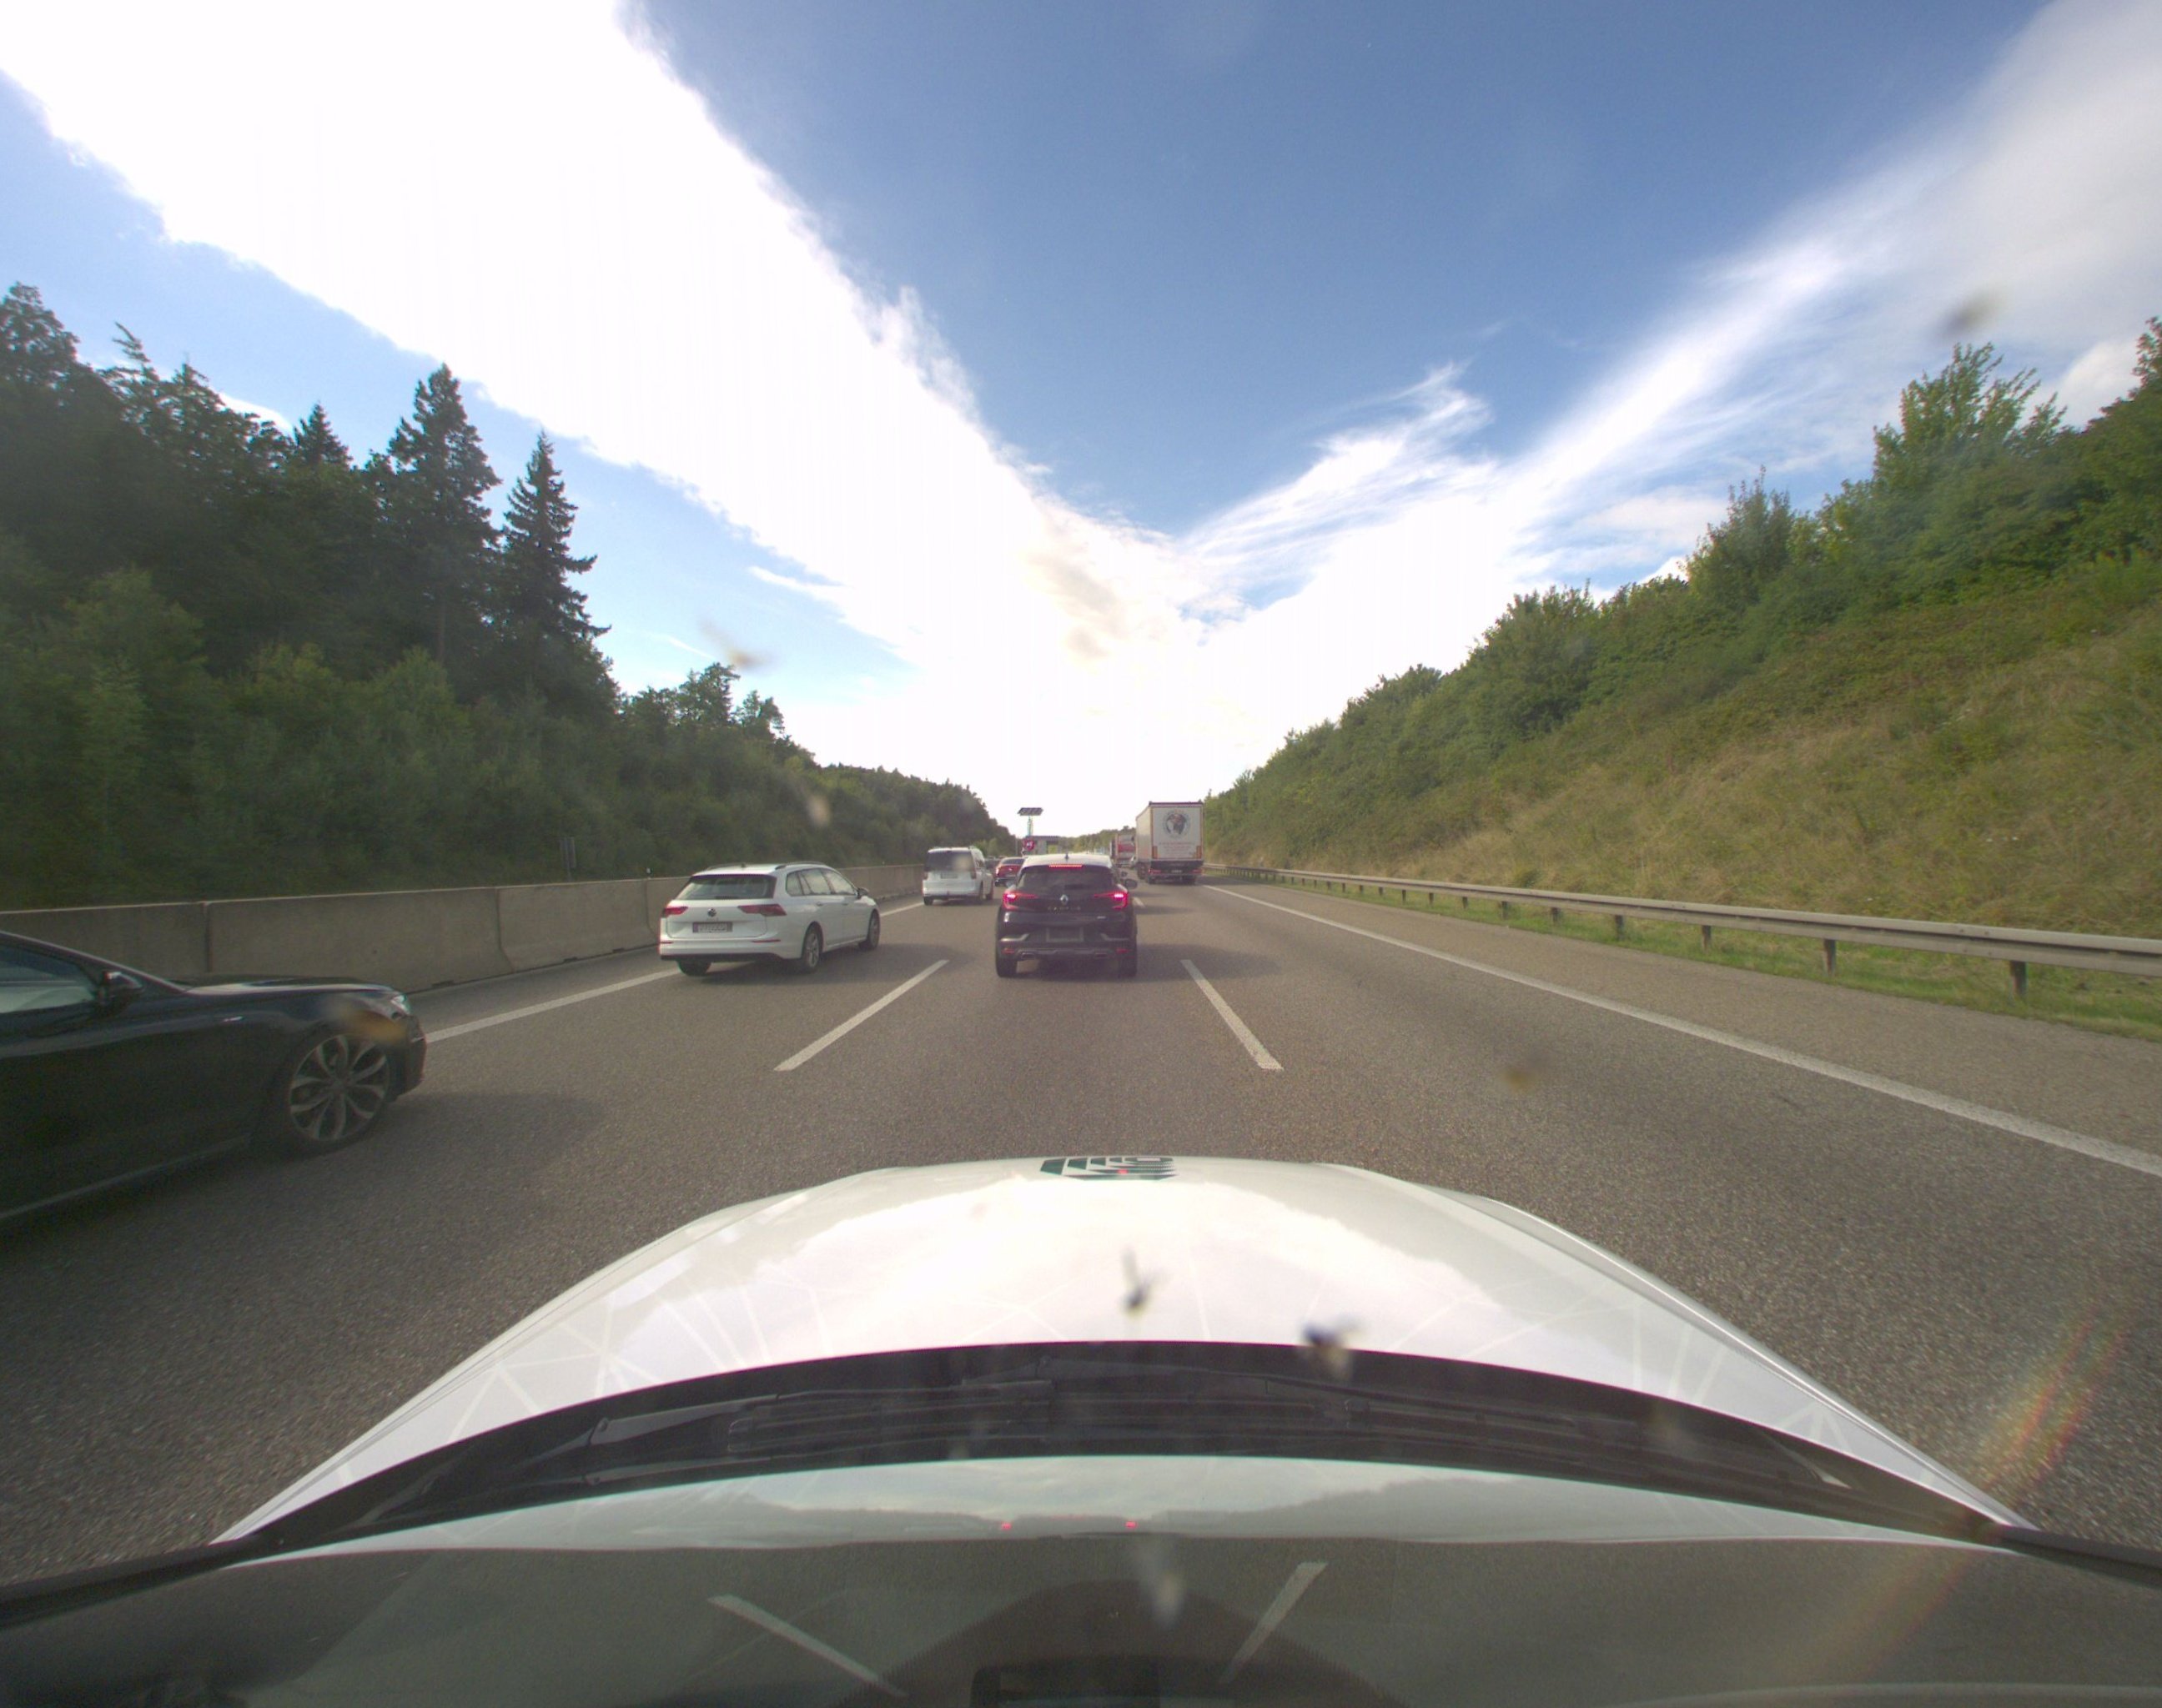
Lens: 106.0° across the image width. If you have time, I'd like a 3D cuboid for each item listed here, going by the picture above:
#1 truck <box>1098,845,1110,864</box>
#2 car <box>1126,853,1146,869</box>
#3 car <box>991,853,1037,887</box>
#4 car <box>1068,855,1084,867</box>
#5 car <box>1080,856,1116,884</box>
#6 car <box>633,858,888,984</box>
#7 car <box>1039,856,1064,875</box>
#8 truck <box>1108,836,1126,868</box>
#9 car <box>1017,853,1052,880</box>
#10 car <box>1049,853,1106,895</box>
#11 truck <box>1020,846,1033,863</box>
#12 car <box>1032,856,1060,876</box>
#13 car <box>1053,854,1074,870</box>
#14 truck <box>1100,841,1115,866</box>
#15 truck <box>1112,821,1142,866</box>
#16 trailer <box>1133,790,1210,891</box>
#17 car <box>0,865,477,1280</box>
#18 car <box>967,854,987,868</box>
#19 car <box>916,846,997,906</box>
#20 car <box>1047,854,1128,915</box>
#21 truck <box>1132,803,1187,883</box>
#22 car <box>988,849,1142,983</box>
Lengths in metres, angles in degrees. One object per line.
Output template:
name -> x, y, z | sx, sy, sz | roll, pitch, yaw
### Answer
truck -> 6.397, 0.206, 225.329 | 3.154, 5.159, 12.744 | 0, -1, 2
car -> 5.604, 0.718, 83.218 | 1.798, 1.533, 3.926 | 0, -1, 1
car -> -3.404, 0.794, 41.761 | 1.848, 1.641, 3.928 | 0, -1, 3
car -> -0.658, 0.943, 109.570 | 1.986, 1.613, 4.002 | -1, 0, 2
car -> 0.997, 0.882, 46.273 | 1.986, 1.514, 4.002 | 0, -1, 2
car -> -4.302, 0.814, 11.771 | 1.797, 1.461, 4.311 | -1, -1, 3
car -> -2.619, 1.030, 73.788 | 1.986, 1.613, 4.002 | 0, -1, 2
truck -> 6.581, -0.262, 149.746 | 3.154, 5.505, 12.744 | 0, -1, 2
car -> -3.086, 0.840, 54.701 | 1.986, 1.722, 4.002 | 0, -1, 2
car -> -0.057, 0.736, 31.080 | 1.986, 1.514, 4.002 | 0, -1, 2
truck -> -16.754, 0.174, 251.759 | 2.880, 5.093, 10.083 | 0, 0, 1
car -> -2.814, 0.955, 66.253 | 1.986, 1.613, 4.002 | 0, -1, 2
car -> -1.804, 0.848, 86.814 | 1.986, 1.613, 4.002 | -1, 0, 2
truck -> 6.278, -0.073, 190.825 | 3.153, 5.505, 12.750 | 0, -1, 4
truck -> 5.456, -1.128, 98.912 | 3.351, 5.044, 12.744 | 0, -1, 2
trailer -> 4.655, -0.636, 44.736 | 2.991, 4.661, 13.293 | -1, 0, 1
car -> -4.803, 0.807, 2.764 | 1.836, 1.456, 4.750 | 0, 0, 2
car -> -13.964, 0.867, 109.422 | 1.845, 1.810, 4.926 | 0, 0, 1
car -> -3.999, 0.694, 26.845 | 1.905, 1.789, 4.417 | 0, -1, 1
car -> 0.239, 0.777, 22.304 | 1.986, 1.514, 4.002 | 0, -1, 2
truck -> 4.819, -0.650, 51.236 | 2.986, 4.667, 5.941 | -1, 0, 1
car -> -0.053, 0.747, 11.620 | 1.796, 1.552, 4.004 | -1, 0, 4
